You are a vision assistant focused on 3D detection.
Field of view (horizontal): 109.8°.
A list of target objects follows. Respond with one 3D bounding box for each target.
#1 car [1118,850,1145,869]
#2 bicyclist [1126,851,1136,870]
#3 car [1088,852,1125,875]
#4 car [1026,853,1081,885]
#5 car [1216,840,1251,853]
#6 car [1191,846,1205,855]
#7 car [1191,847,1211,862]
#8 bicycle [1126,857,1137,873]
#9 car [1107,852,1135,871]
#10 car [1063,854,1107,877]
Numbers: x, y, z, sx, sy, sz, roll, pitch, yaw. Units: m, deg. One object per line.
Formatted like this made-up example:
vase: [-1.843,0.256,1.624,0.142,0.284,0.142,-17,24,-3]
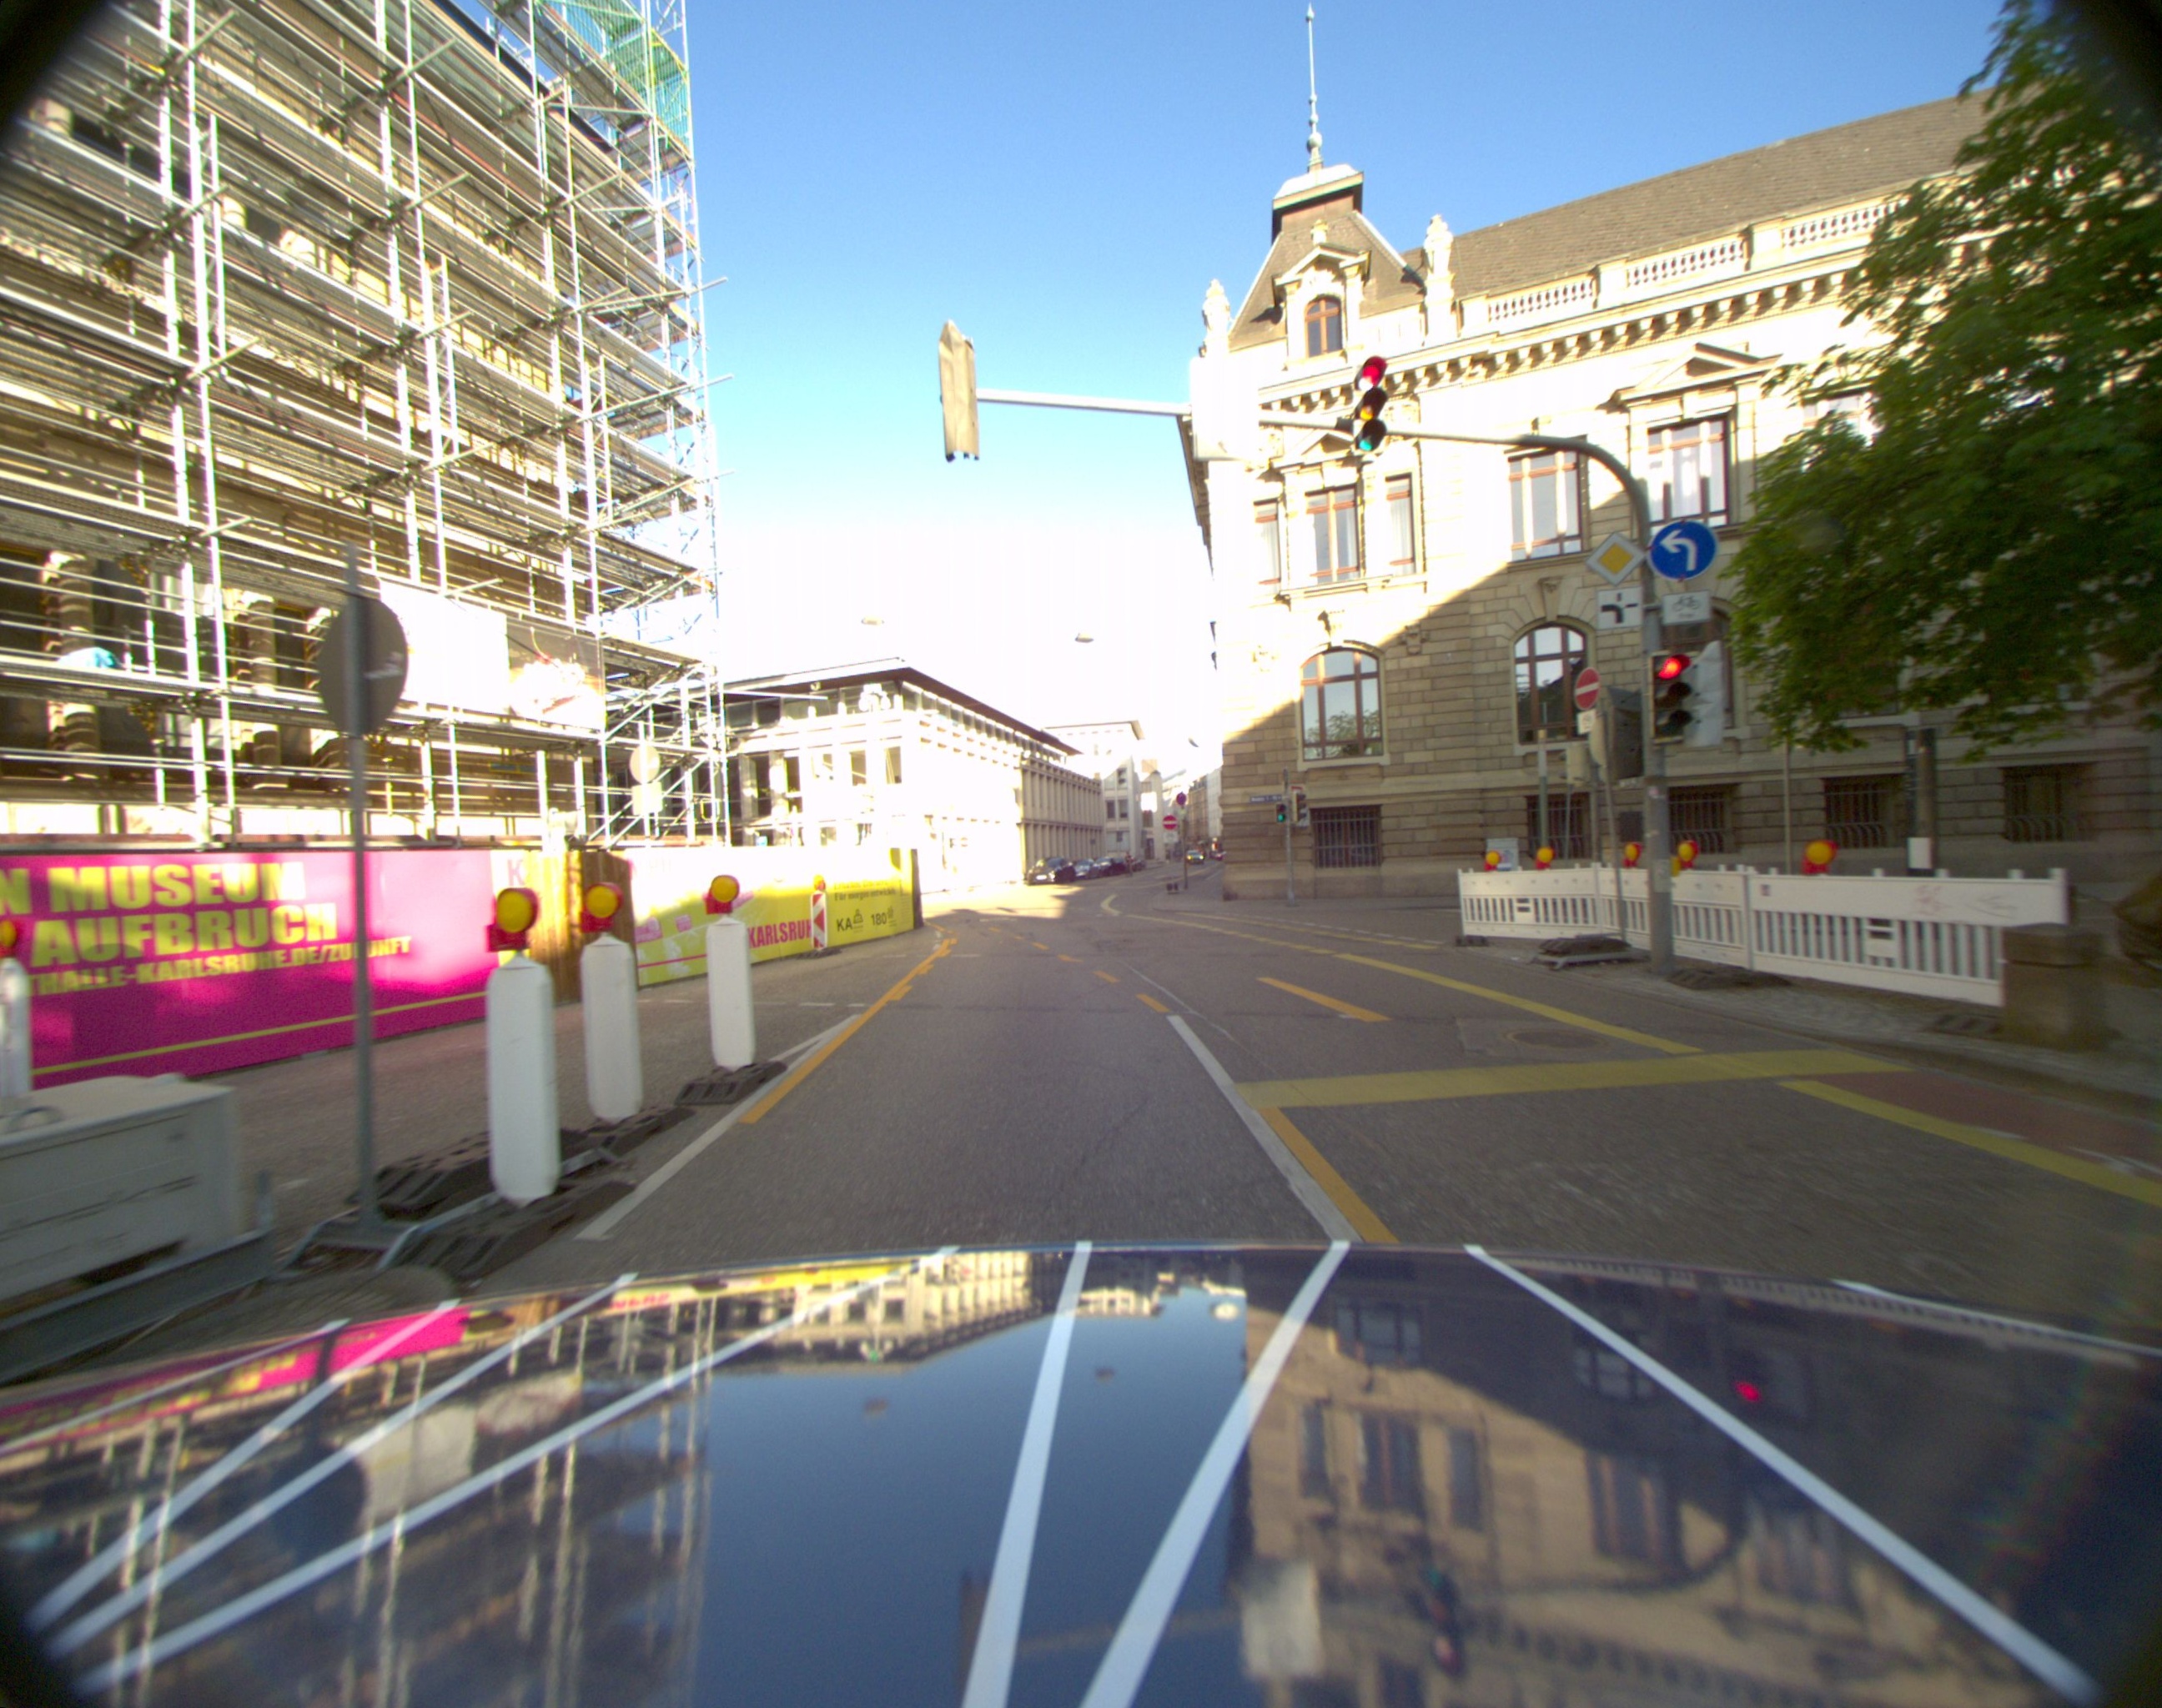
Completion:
car: [4.547,0.449,68.329,1.696,1.483,4.258,-3,0,13]
bicyclist: [3.441,0.462,51.902,0.537,1.281,0.552,-3,1,12]
car: [1.960,0.685,57.222,1.699,1.462,4.796,-3,0,14]
car: [-1.555,0.850,44.679,1.897,1.614,4.626,-3,0,14]
car: [19.739,-0.906,98.517,4.268,1.462,1.633,-3,0,1]
car: [22.094,-0.647,143.683,2.053,1.482,4.272,-3,0,2]
car: [13.725,0.034,86.674,1.852,1.483,4.258,-3,0,13]
bicycle: [3.455,0.760,51.901,0.534,1.060,1.427,-3,0,12]
car: [3.380,0.610,63.087,1.630,1.391,3.889,-3,0,12]
car: [0.348,0.761,51.528,1.699,1.336,4.603,-3,0,17]
